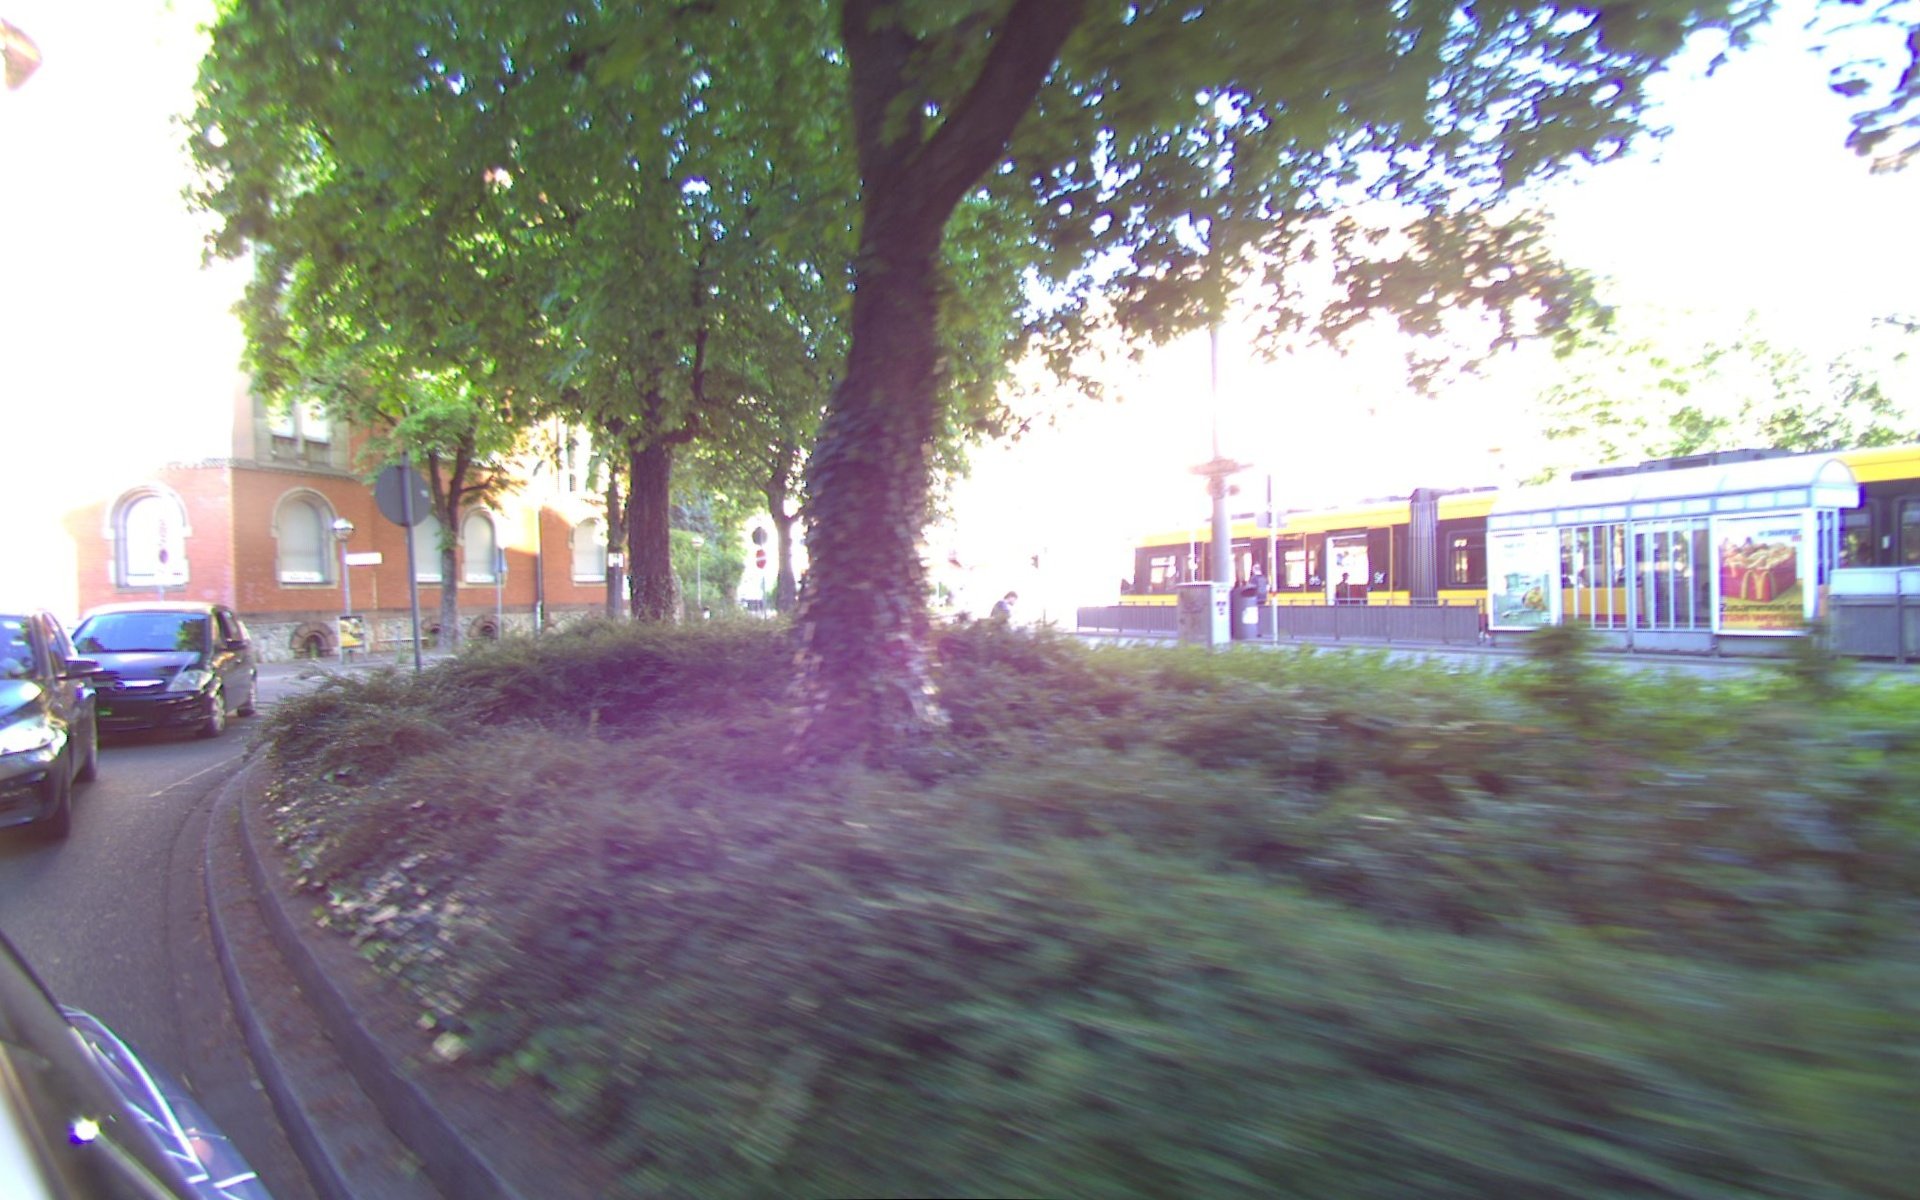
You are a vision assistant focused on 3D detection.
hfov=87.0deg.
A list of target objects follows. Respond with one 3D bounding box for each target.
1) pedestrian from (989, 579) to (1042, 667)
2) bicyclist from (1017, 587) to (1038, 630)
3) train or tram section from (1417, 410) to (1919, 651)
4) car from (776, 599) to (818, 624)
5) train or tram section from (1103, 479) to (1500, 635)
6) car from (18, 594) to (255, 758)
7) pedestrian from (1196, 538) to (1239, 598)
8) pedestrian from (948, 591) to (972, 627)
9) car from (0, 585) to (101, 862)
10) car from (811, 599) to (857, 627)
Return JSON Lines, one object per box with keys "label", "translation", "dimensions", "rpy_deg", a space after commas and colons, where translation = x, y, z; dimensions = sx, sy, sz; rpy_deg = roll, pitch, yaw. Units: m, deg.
{"label": "pedestrian", "translation": [0.950, 0.382, 17.338], "dimensions": [0.698, 1.454, 0.602], "rpy_deg": [-2, 1, -19]}
{"label": "bicyclist", "translation": [2.532, 0.324, 37.992], "dimensions": [0.587, 1.585, 0.557], "rpy_deg": [-2, 0, -24]}
{"label": "train or tram section", "translation": [14.487, -1.069, 18.208], "dimensions": [2.738, 3.614, 12.461], "rpy_deg": [-2, 1, -26]}
{"label": "car", "translation": [-10.384, 0.706, 64.154], "dimensions": [1.707, 1.427, 4.014], "rpy_deg": [-2, 2, -23]}
{"label": "train or tram section", "translation": [8.968, -0.995, 29.543], "dimensions": [2.726, 3.584, 12.723], "rpy_deg": [-2, 1, -26]}
{"label": "car", "translation": [-9.863, 0.801, 12.413], "dimensions": [1.652, 1.640, 3.699], "rpy_deg": [-2, 0, -30]}
{"label": "pedestrian", "translation": [7.355, -0.922, 28.920], "dimensions": [0.904, 1.647, 0.716], "rpy_deg": [-2, 2, 41]}
{"label": "pedestrian", "translation": [0.003, 0.420, 47.872], "dimensions": [0.723, 1.647, 0.895], "rpy_deg": [-3, 1, 33]}
{"label": "car", "translation": [-7.338, 0.744, 7.104], "dimensions": [1.766, 1.590, 4.269], "rpy_deg": [-1, 0, -38]}
{"label": "car", "translation": [-7.118, 0.721, 56.808], "dimensions": [1.707, 1.428, 4.013], "rpy_deg": [-2, 0, -19]}
